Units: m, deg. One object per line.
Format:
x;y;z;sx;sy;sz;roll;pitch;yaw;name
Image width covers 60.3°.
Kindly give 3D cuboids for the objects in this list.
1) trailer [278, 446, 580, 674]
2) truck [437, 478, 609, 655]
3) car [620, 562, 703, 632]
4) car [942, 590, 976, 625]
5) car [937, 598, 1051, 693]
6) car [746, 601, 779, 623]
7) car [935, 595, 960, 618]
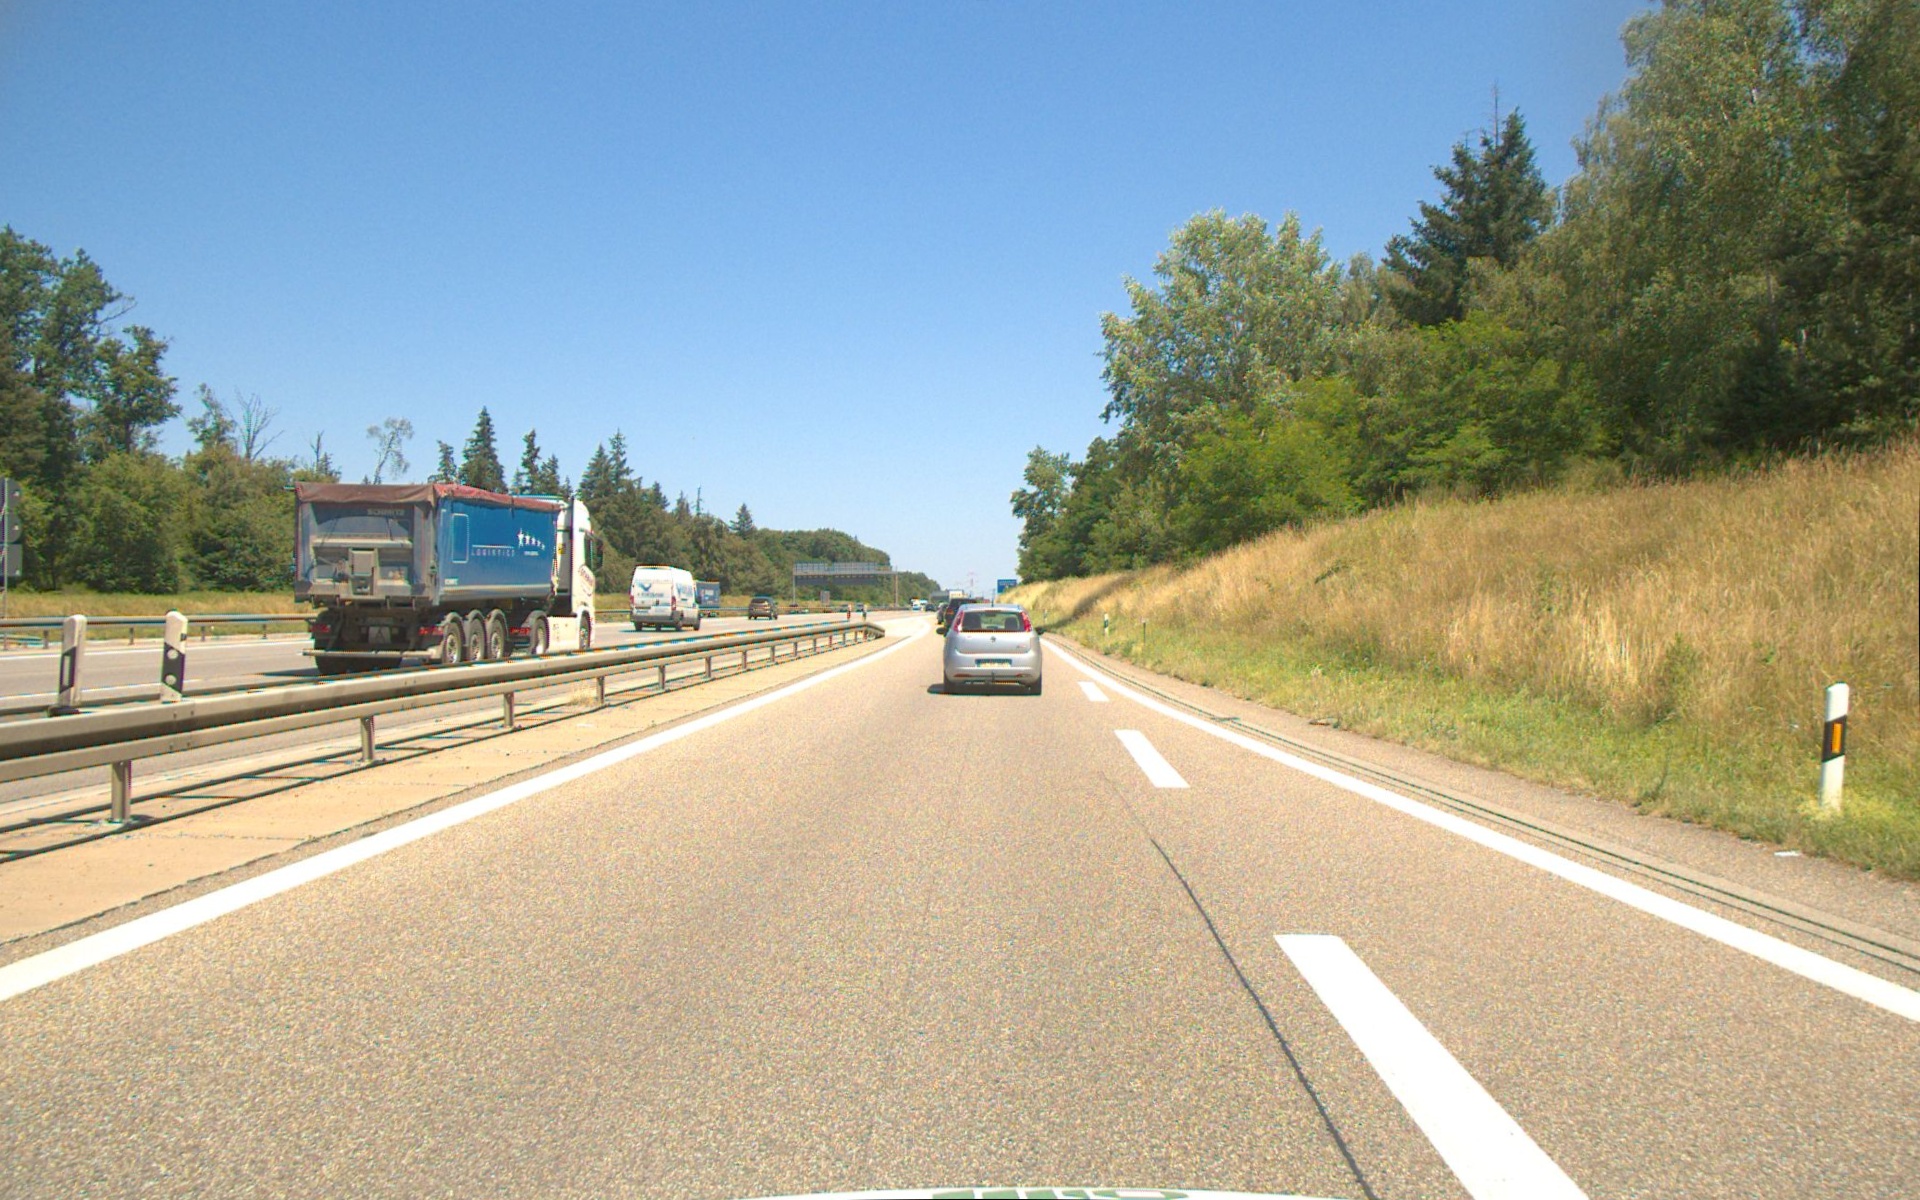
-10.177;-0.714;33.129;2.714;3.874;9.886;0;0;1;trailer
-10.081;-0.753;38.599;2.699;3.874;4.622;0;0;1;truck
-13.276;-0.056;73.965;2.578;2.947;6.473;0;-1;-1;car
-0.062;0.402;84.216;1.672;1.706;3.396;0;-2;-1;car
0.522;0.724;28.159;1.672;1.507;3.395;0;0;-4;car
-14.785;0.914;123.969;1.953;1.646;3.999;0;-1;0;car
-0.867;0.453;112.881;1.672;1.534;3.396;0;-2;-1;car
